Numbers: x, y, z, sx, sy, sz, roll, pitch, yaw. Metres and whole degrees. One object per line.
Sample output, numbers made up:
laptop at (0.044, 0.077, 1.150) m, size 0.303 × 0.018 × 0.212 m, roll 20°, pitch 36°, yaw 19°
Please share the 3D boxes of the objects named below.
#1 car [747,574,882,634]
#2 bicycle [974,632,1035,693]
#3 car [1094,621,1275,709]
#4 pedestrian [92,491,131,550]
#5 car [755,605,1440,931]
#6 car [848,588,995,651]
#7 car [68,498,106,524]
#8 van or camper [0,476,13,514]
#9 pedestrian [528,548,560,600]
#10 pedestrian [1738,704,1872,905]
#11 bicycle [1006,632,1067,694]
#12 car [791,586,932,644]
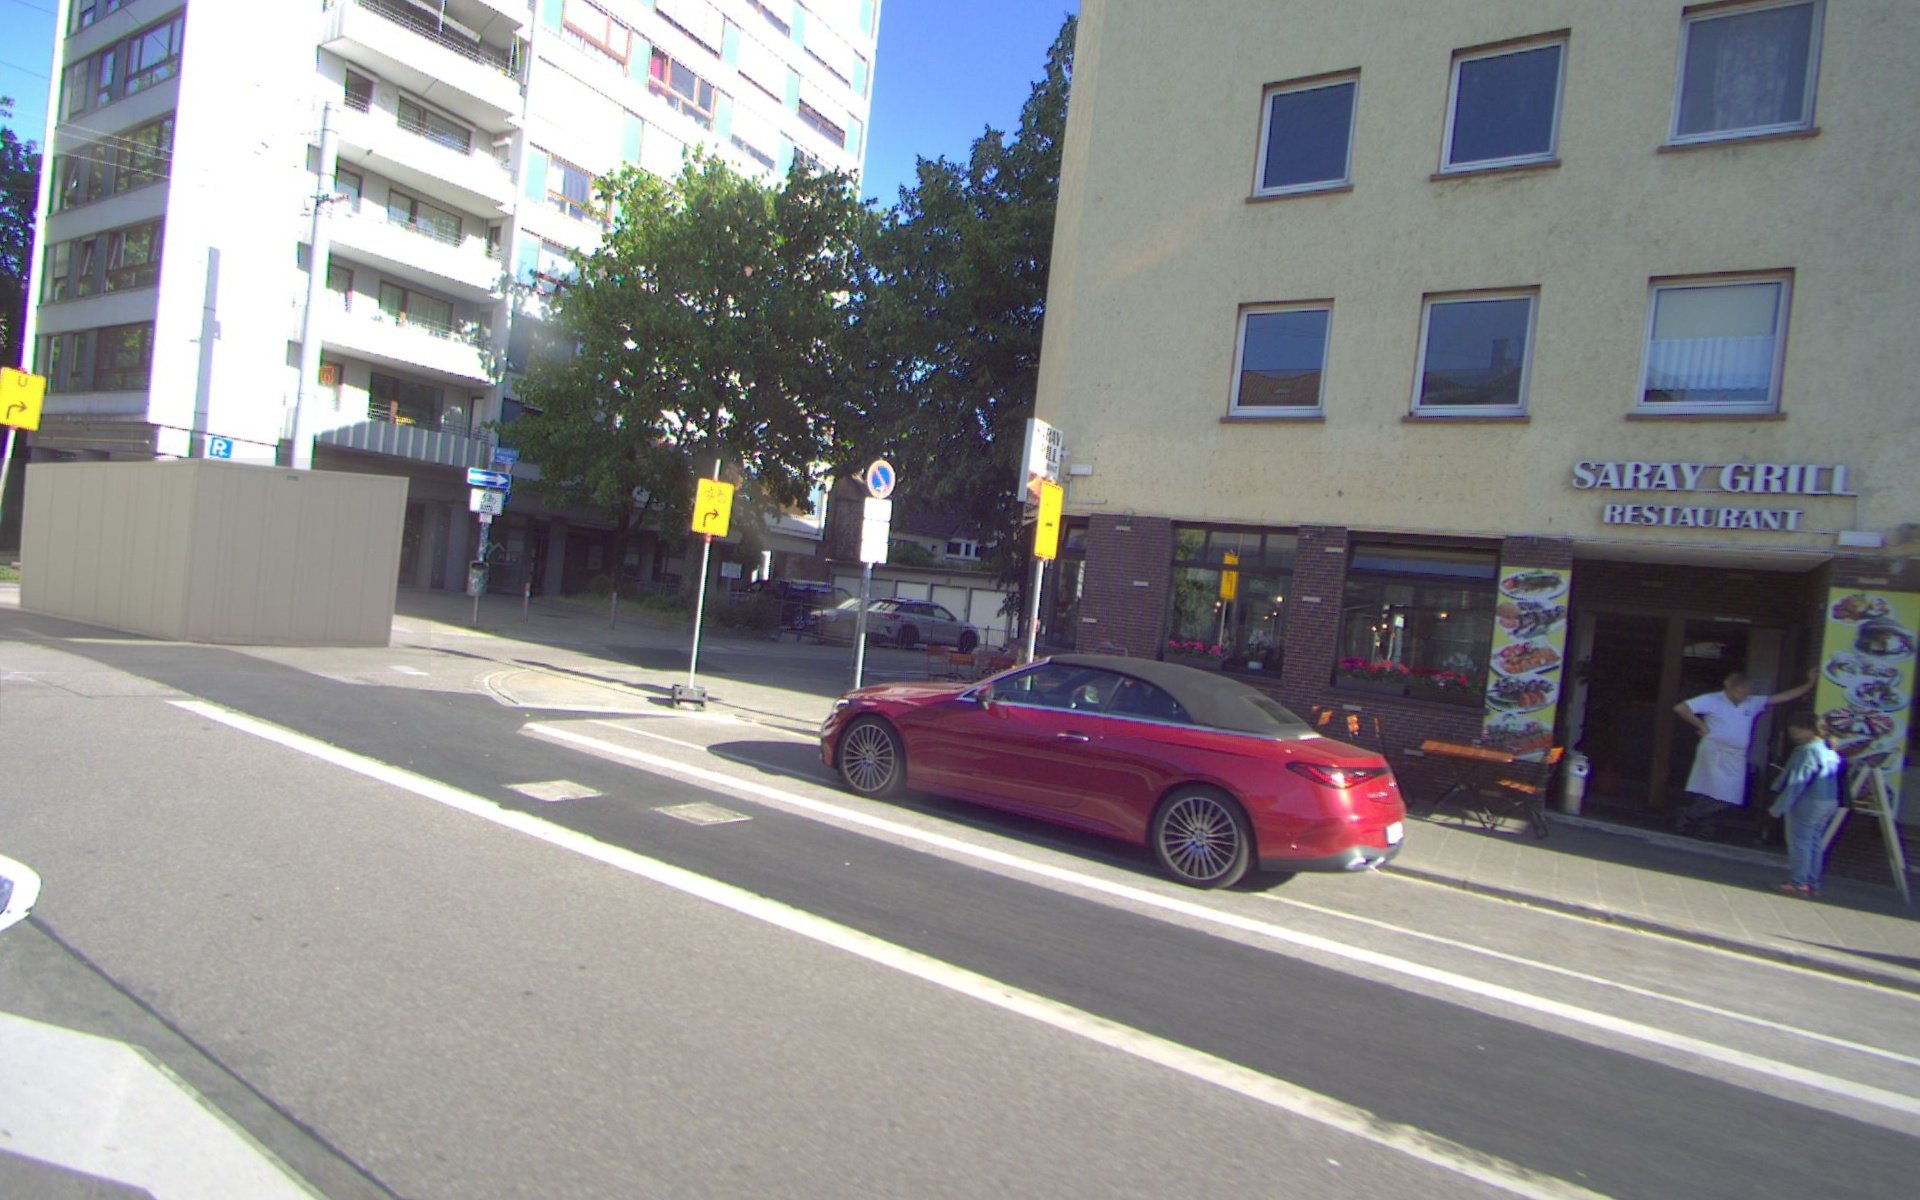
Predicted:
car at (-5.167, 0.173, 36.073) m, size 4.204 × 1.624 × 2.130 m, roll 7°, pitch 0°, yaw -42°
bicycle at (0.885, 1.250, 20.549) m, size 0.364 × 1.017 × 1.933 m, roll 6°, pitch 1°, yaw -22°
car at (5.563, 1.612, 24.733) m, size 4.212 × 1.662 × 1.979 m, roll 7°, pitch 1°, yaw -37°
pedestrian at (-27.866, -2.609, 33.040) m, size 0.654 × 1.838 × 0.690 m, roll 7°, pitch 1°, yaw 32°
car at (0.909, 1.071, 8.150) m, size 5.075 × 1.460 × 1.873 m, roll 6°, pitch 0°, yaw 33°
car at (-1.203, 0.641, 32.387) m, size 4.343 × 1.504 × 1.969 m, roll 7°, pitch 0°, yaw -40°
car at (-68.328, -6.984, 78.732) m, size 1.987 × 1.690 × 4.687 m, roll 6°, pitch 0°, yaw -43°
van or camper at (-72.103, -7.914, 74.775) m, size 2.139 × 2.669 × 5.521 m, roll 6°, pitch 0°, yaw -42°
pedestrian at (-16.180, -1.009, 39.133) m, size 0.667 × 1.875 × 0.656 m, roll 7°, pitch -2°, yaw 34°
pedestrian at (7.150, 1.694, 8.549) m, size 0.641 × 1.525 × 0.671 m, roll 7°, pitch 1°, yaw 32°
bicycle at (1.577, 1.288, 21.056) m, size 0.364 × 1.096 × 1.933 m, roll 6°, pitch 0°, yaw -22°
car at (-3.278, 0.514, 33.866) m, size 4.250 × 1.435 × 2.068 m, roll 7°, pitch 0°, yaw -42°
